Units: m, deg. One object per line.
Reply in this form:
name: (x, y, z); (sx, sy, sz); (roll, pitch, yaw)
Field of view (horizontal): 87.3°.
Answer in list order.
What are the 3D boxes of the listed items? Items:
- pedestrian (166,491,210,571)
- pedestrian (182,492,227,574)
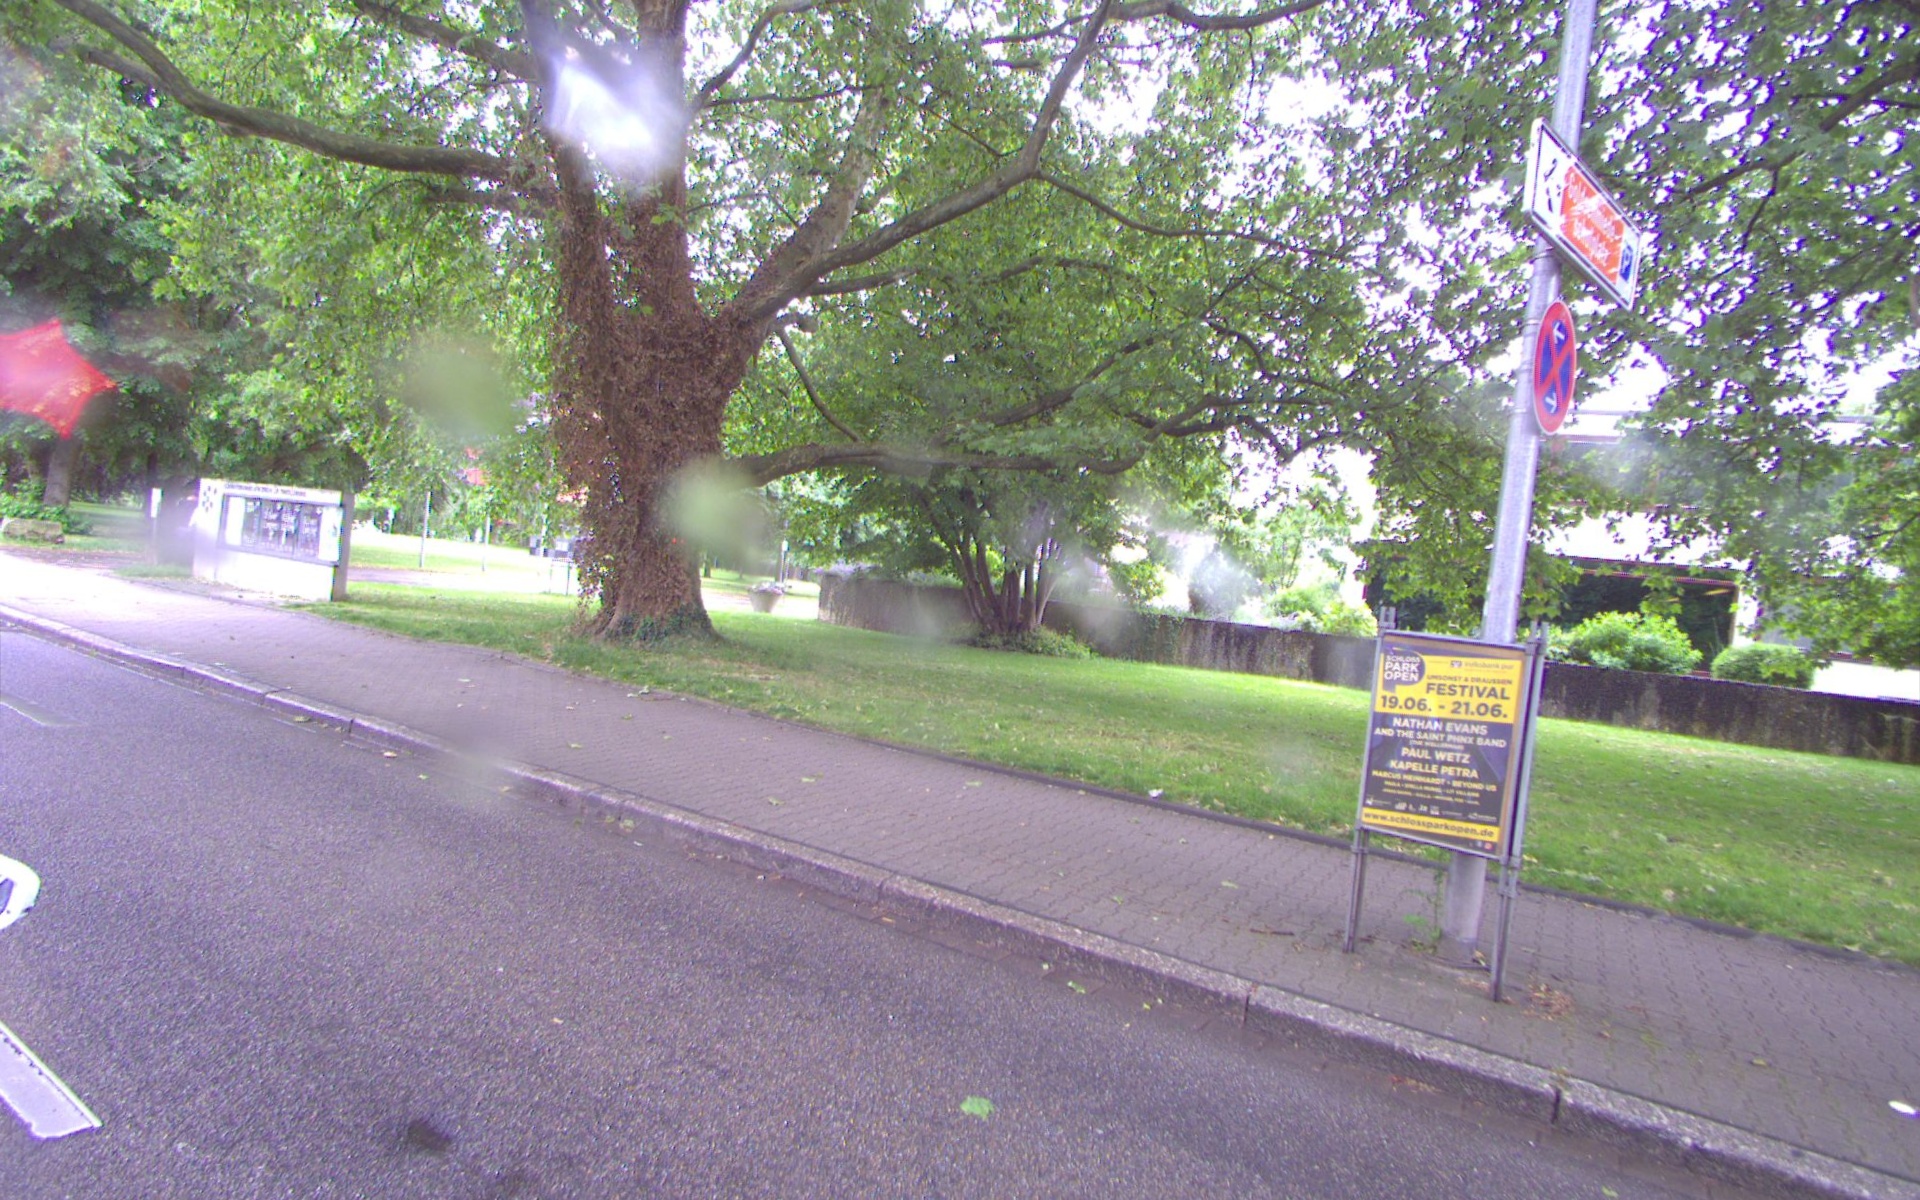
pedestrian: (-17.508, -1.563, 22.815); (0.550, 1.744, 0.485); (7, 2, 25)
pedestrian: (-16.956, -1.499, 22.577); (0.550, 1.744, 0.504); (7, 2, 25)
